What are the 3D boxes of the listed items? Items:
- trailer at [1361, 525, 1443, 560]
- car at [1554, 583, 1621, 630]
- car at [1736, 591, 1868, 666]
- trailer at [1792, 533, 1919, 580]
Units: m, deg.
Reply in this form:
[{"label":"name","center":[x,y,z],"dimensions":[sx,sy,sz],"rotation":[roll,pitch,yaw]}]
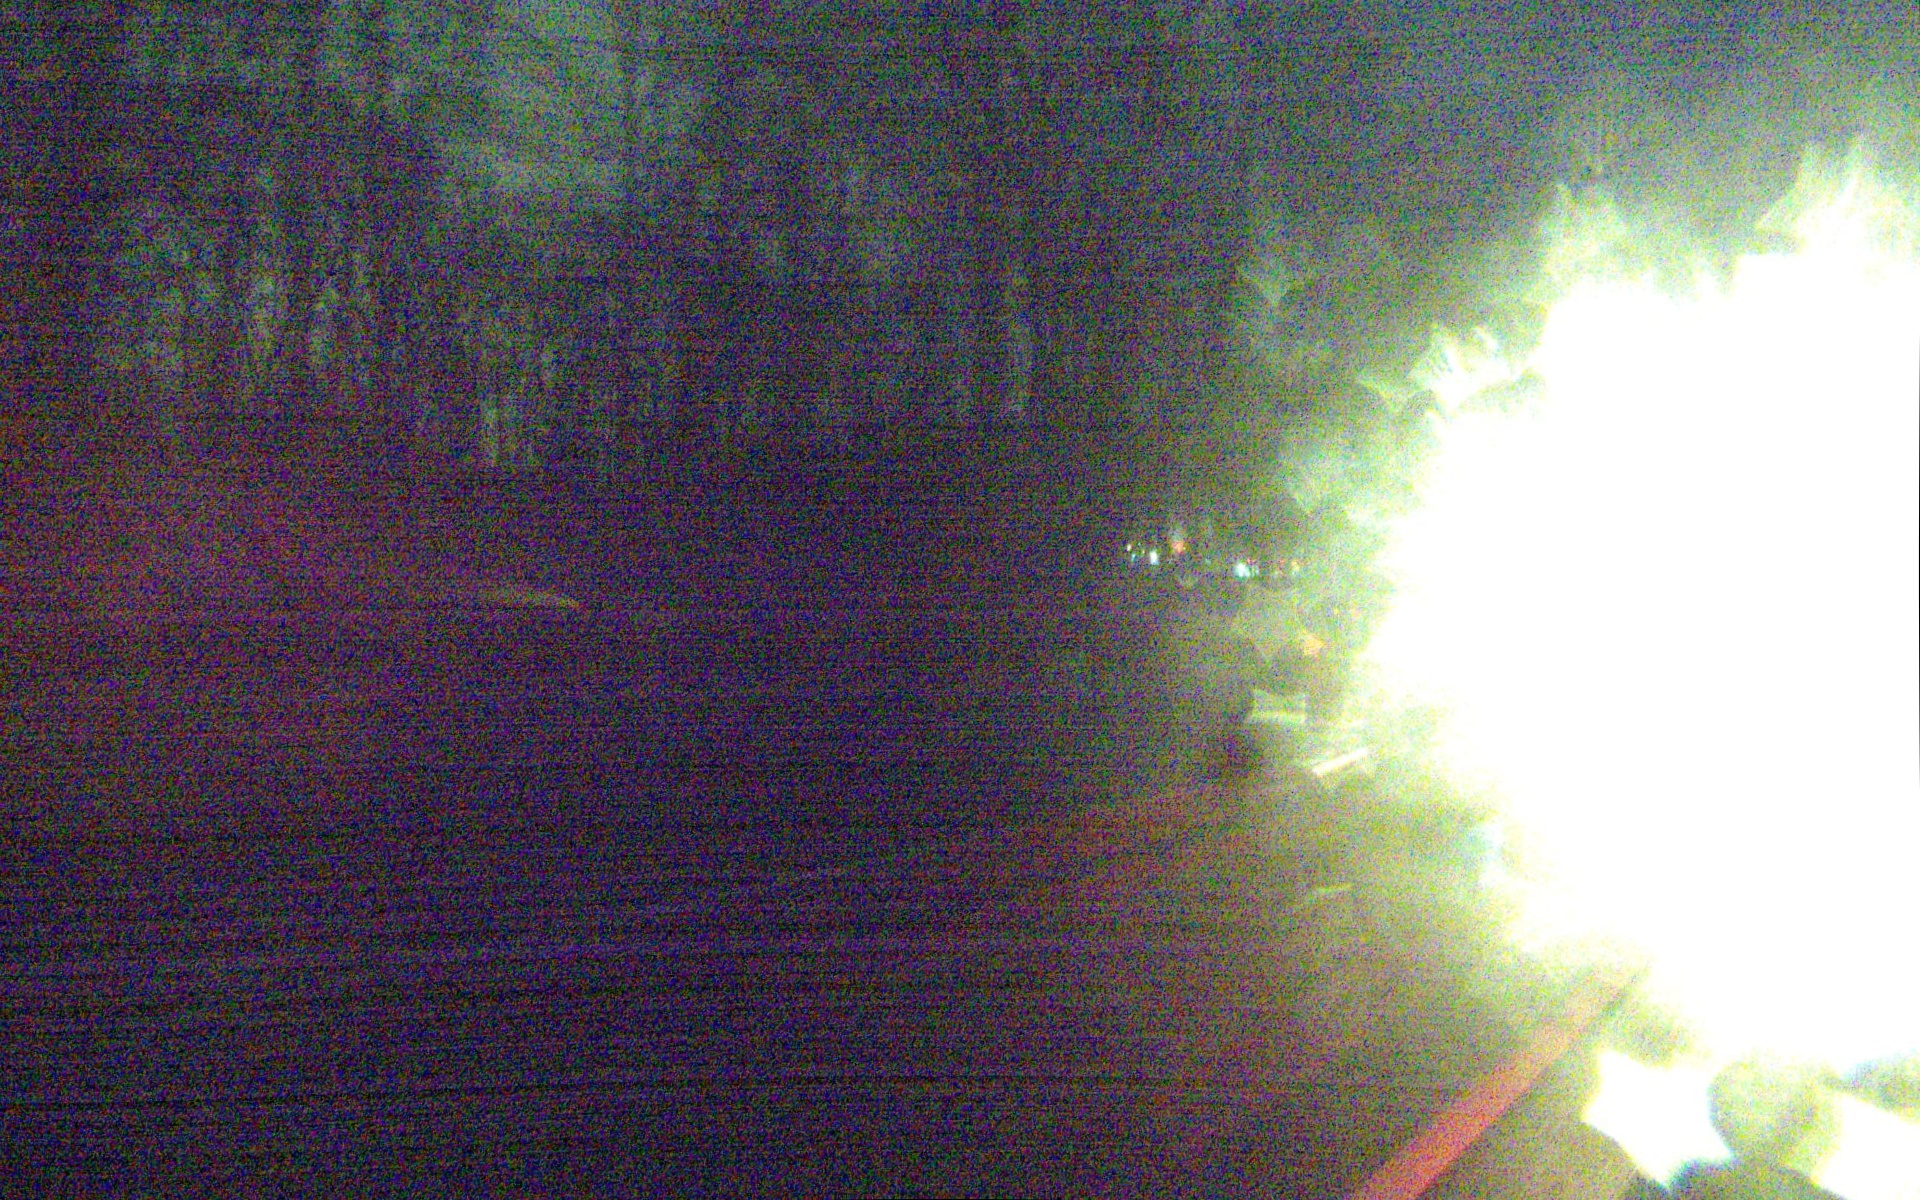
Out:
[{"label":"trailer","center":[52.653,-6.893,121.169],"dimensions":[3.384,3.924,13.379],"rotation":[-1,3,-2]},{"label":"car","center":[31.381,0.300,50.760],"dimensions":[1.976,2.038,3.974],"rotation":[-4,1,21]},{"label":"car","center":[22.822,0.695,27.609],"dimensions":[1.876,1.631,3.965],"rotation":[2,4,27]},{"label":"trailer","center":[56.909,-2.622,60.238],"dimensions":[1.958,2.760,13.046],"rotation":[0,4,-11]}]
